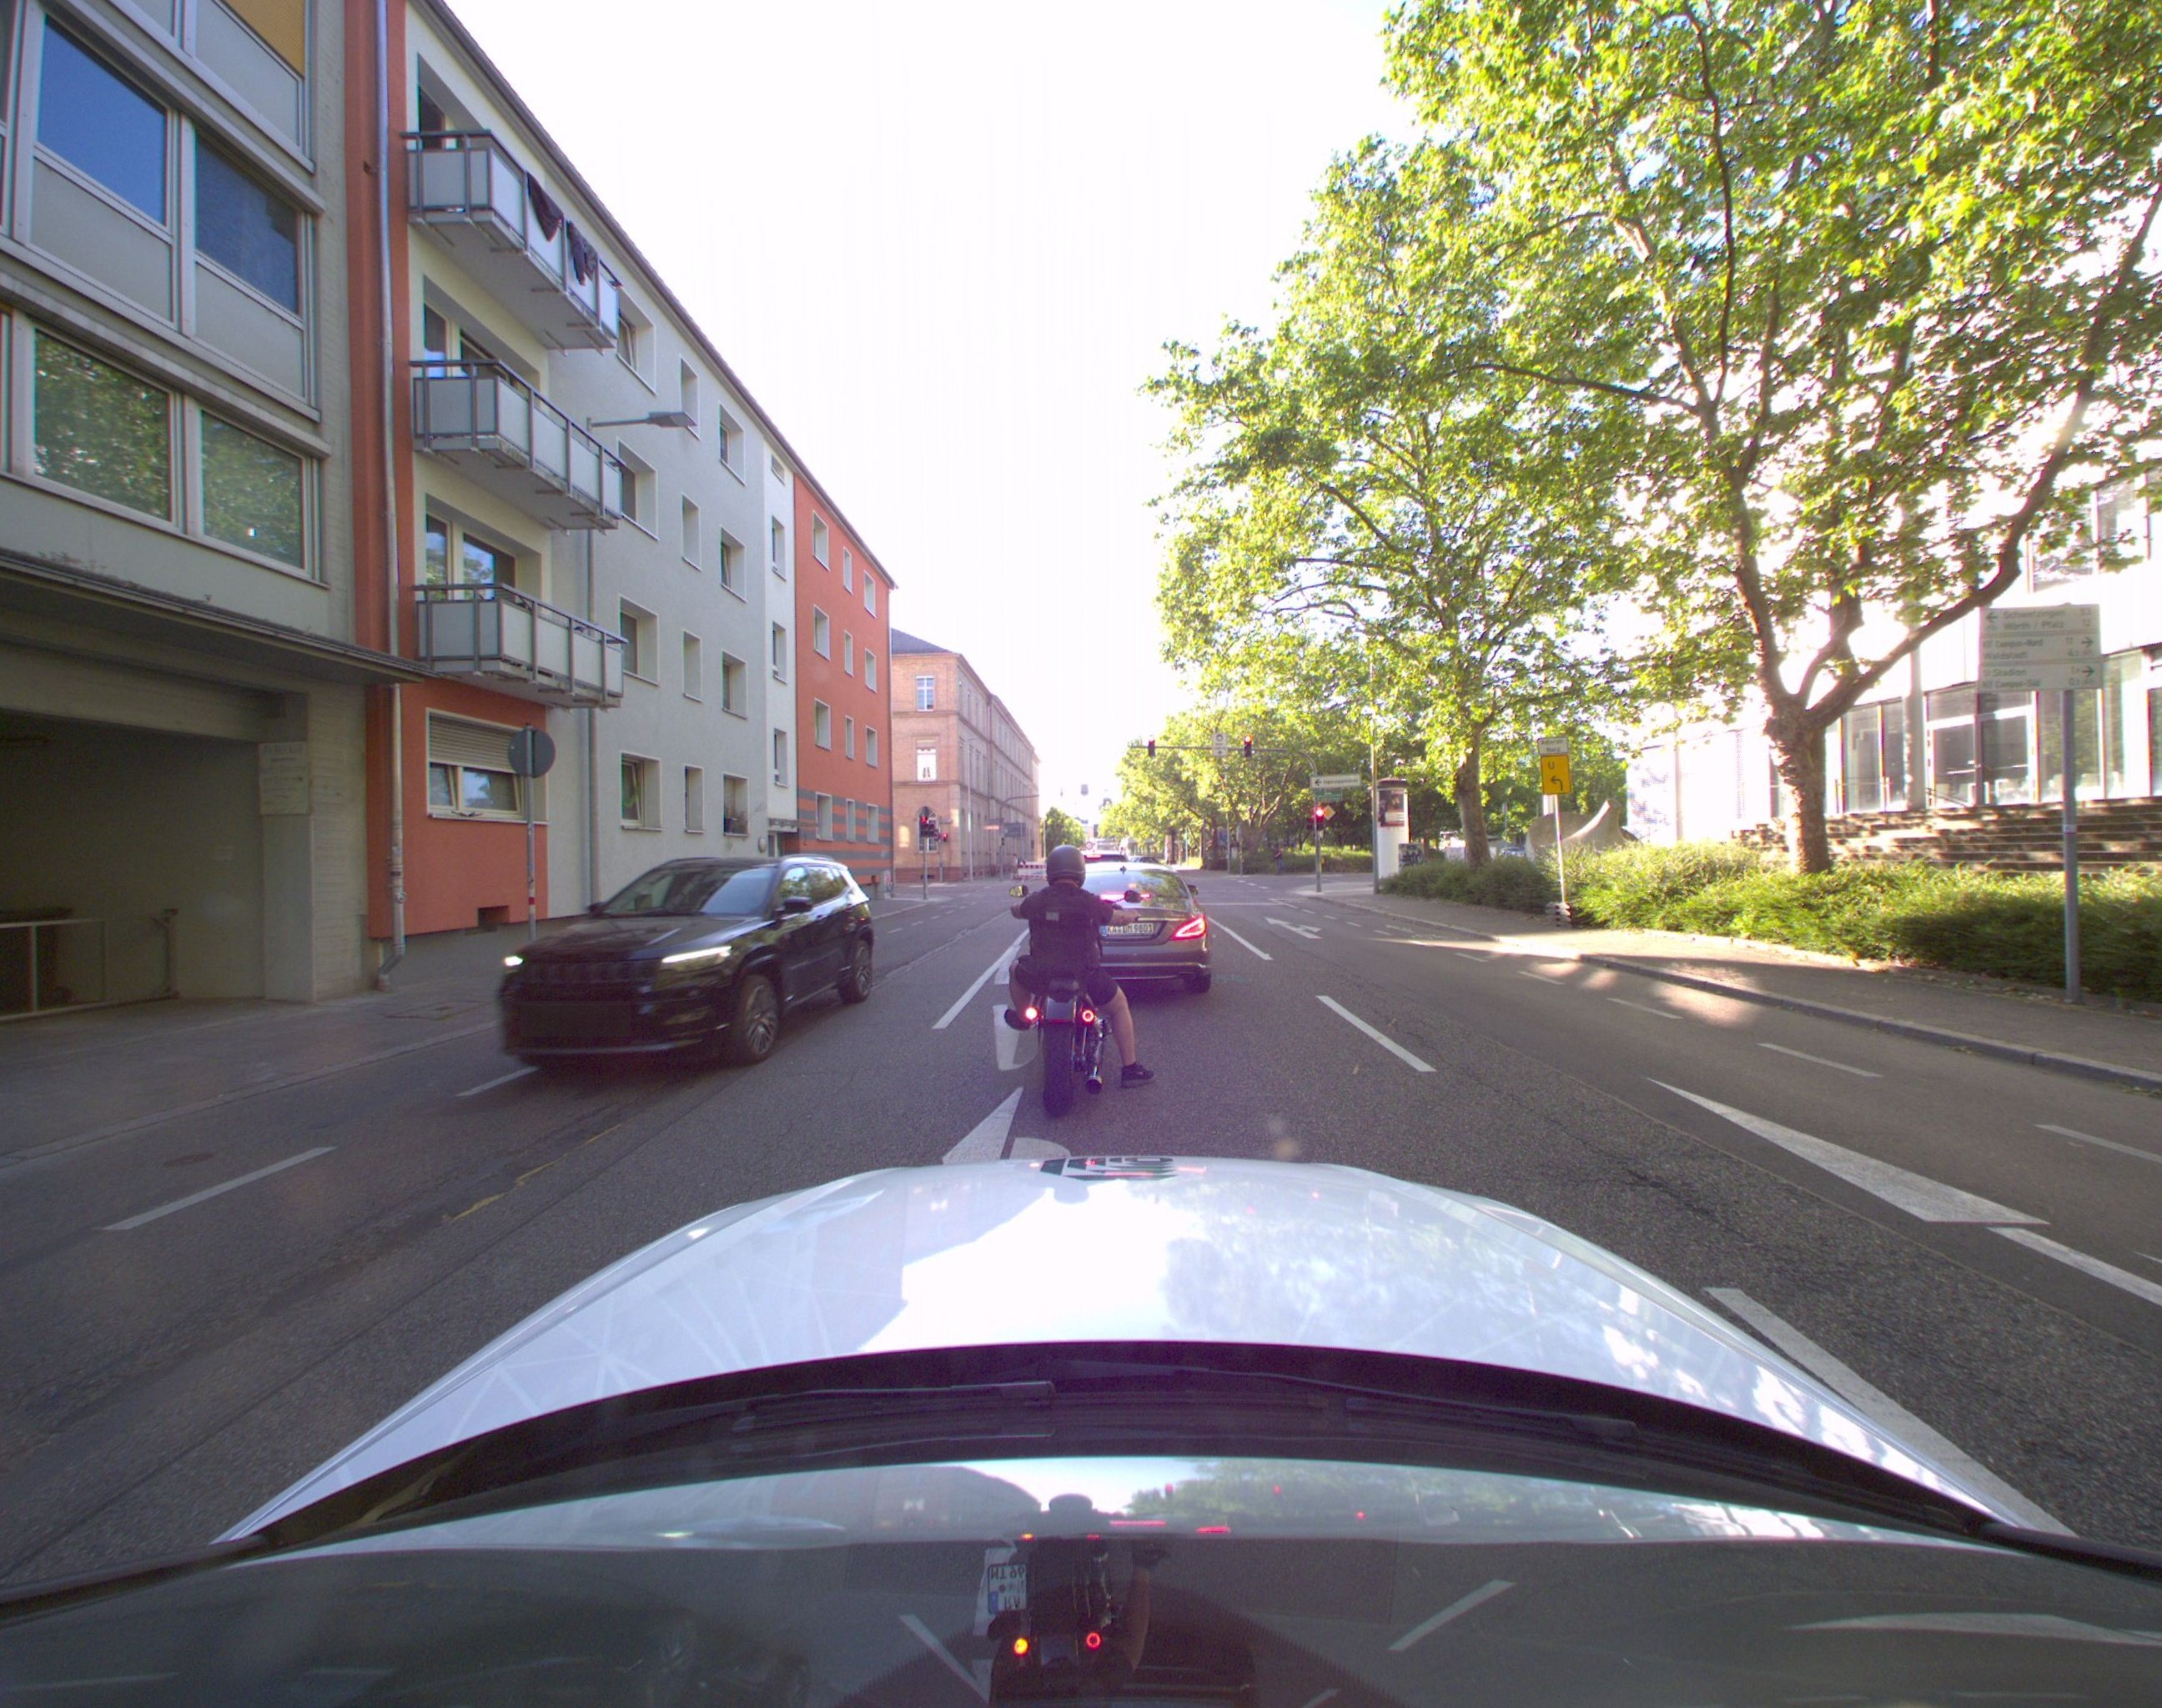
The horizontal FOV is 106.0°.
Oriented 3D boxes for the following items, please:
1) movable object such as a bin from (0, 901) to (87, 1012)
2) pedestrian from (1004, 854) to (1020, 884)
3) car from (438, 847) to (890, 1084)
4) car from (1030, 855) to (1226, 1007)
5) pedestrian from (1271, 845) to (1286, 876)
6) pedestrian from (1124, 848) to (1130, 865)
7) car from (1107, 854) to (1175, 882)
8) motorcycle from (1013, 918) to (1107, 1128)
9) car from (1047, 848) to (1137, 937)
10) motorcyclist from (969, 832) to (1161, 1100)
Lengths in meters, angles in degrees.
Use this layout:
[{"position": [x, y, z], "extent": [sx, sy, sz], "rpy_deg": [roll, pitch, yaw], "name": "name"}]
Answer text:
[{"position": [-11.265, 1.065, 8.634], "extent": [0.626, 1.100, 0.659], "rpy_deg": [0, -1, 4], "name": "movable object such as a bin"}, {"position": [-4.297, 0.936, 50.741], "extent": [0.999, 1.826, 1.075], "rpy_deg": [0, -1, -4], "name": "pedestrian"}, {"position": [-3.300, 0.763, 7.621], "extent": [1.843, 1.570, 4.387], "rpy_deg": [0, -1, 2], "name": "car"}, {"position": [0.509, 0.742, 9.731], "extent": [1.875, 1.449, 3.821], "rpy_deg": [0, 0, 2], "name": "car"}, {"position": [12.573, 0.408, 51.940], "extent": [0.917, 1.910, 0.754], "rpy_deg": [-1, -1, 12], "name": "pedestrian"}, {"position": [5.725, 0.287, 100.949], "extent": [0.761, 2.051, 0.712], "rpy_deg": [0, -1, 1], "name": "pedestrian"}, {"position": [3.539, 0.797, 47.676], "extent": [1.834, 1.575, 4.161], "rpy_deg": [-1, -1, 41], "name": "car"}, {"position": [-0.084, 1.007, 5.470], "extent": [0.511, 1.002, 2.014], "rpy_deg": [0, -1, 2], "name": "motorcycle"}, {"position": [0.268, 0.696, 16.859], "extent": [1.615, 1.594, 4.002], "rpy_deg": [-1, 0, 2], "name": "car"}, {"position": [-0.077, 0.675, 5.518], "extent": [1.145, 1.598, 1.288], "rpy_deg": [0, -1, 1], "name": "motorcyclist"}]
